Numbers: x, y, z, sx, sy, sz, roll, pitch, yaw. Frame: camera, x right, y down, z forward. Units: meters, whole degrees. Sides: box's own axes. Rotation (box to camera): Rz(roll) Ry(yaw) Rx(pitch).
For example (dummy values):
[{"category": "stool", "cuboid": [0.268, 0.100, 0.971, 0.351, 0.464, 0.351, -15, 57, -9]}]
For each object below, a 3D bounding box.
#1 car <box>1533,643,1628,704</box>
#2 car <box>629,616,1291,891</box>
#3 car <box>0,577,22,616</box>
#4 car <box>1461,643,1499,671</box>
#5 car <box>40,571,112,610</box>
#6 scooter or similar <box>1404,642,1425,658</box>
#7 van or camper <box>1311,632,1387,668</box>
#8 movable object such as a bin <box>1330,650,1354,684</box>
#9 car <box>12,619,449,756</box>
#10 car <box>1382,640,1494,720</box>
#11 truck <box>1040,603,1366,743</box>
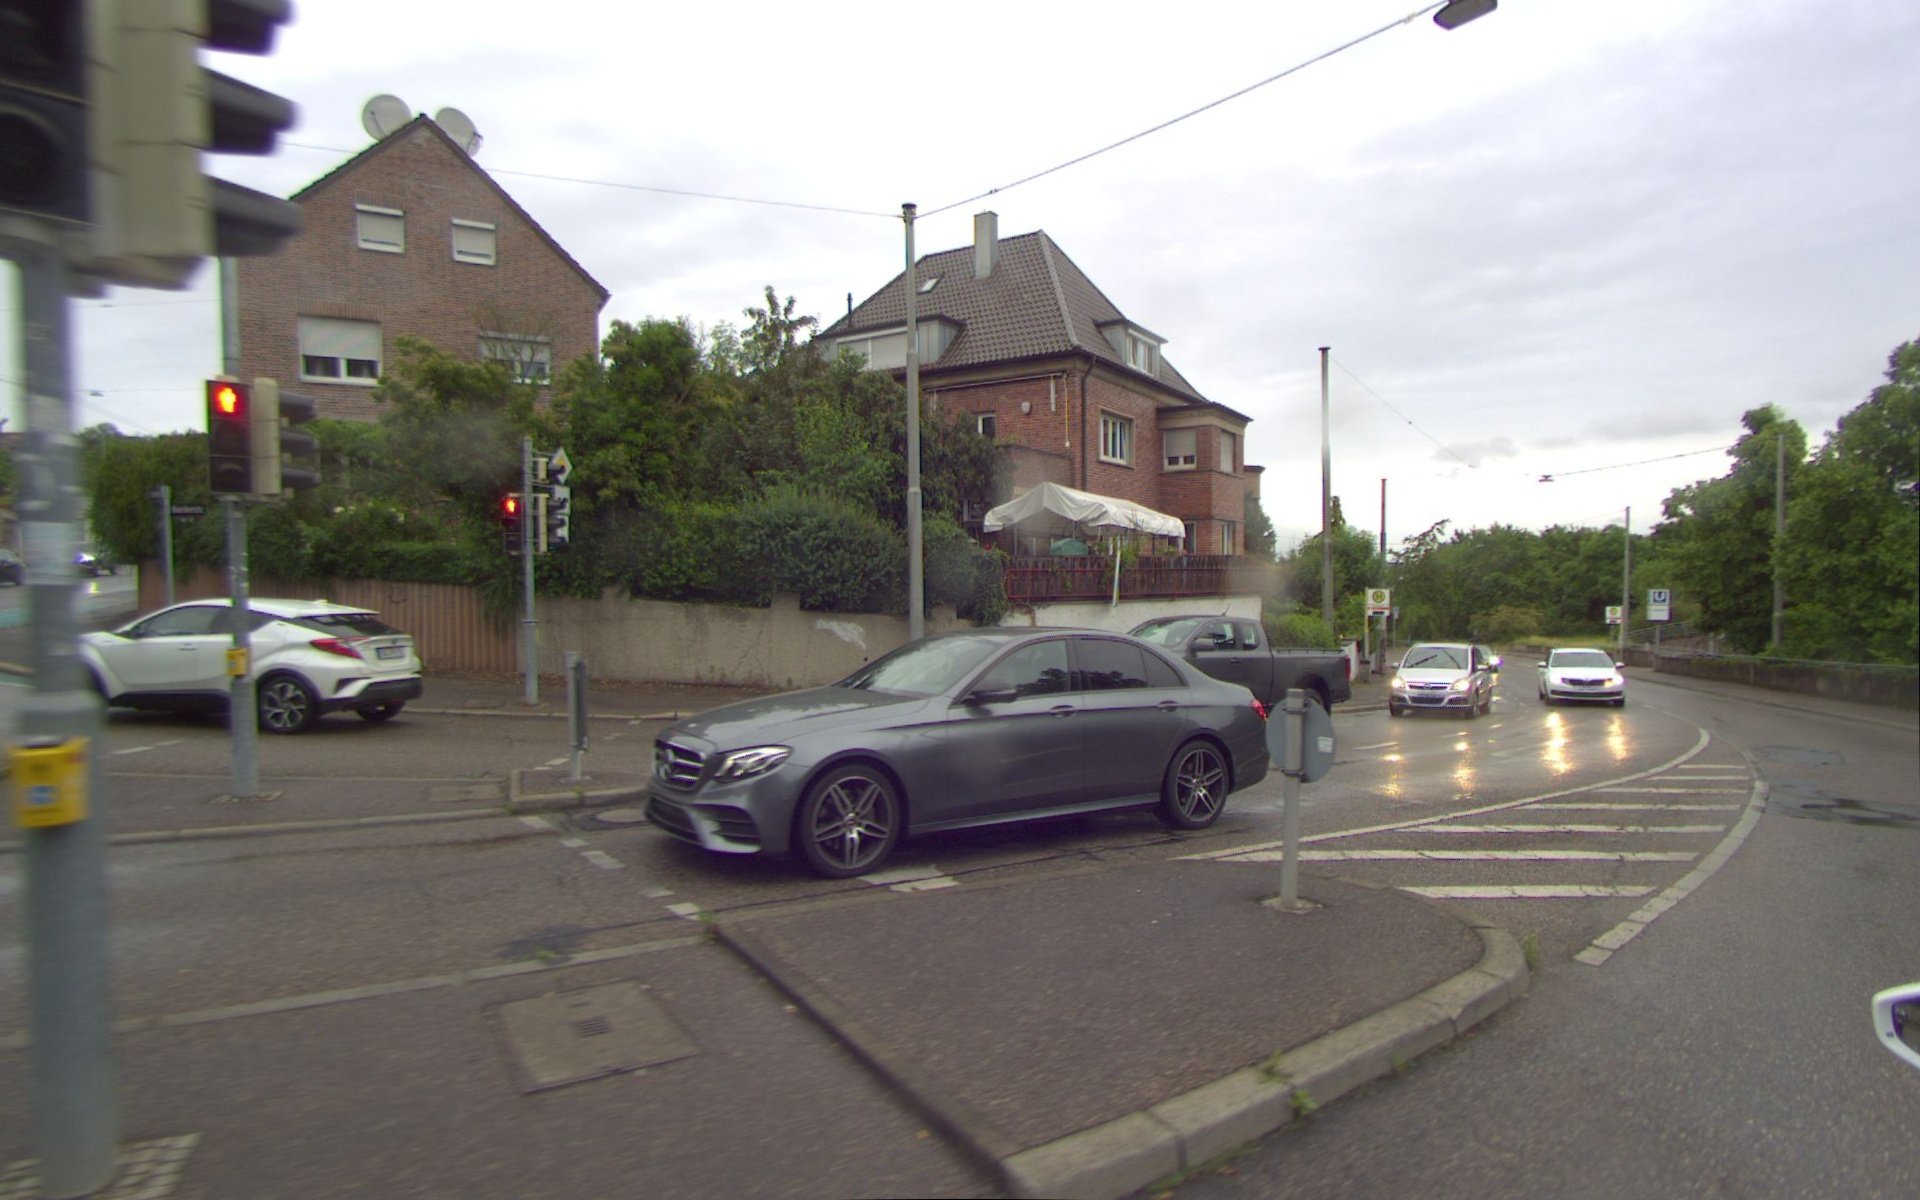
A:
[{"category": "car", "cuboid": [16.726, 1.976, 27.267, 1.820, 1.493, 4.436, -3, -4, 28]}, {"category": "car", "cuboid": [0.186, 0.948, 7.260, 4.550, 1.413, 1.847, 3, -5, -35]}, {"category": "car", "cuboid": [-36.959, -0.136, 37.689, 1.739, 1.479, 4.008, 0, 0, -30]}, {"category": "car", "cuboid": [28.589, 3.121, 55.275, 1.711, 1.469, 4.610, -3, -4, 27]}, {"category": "car", "cuboid": [-42.047, -0.468, 47.873, 1.739, 1.672, 4.008, -4, 3, -30]}, {"category": "scooter or similar", "cuboid": [41.338, 4.558, 91.301, 0.447, 1.299, 1.695, -2, -3, -32]}, {"category": "van or camper", "cuboid": [36.501, 4.755, 94.416, 2.371, 2.982, 6.227, -5, 0, -33]}, {"category": "movable object such as a bin", "cuboid": [13.077, 2.286, 34.377, 0.615, 1.095, 0.759, 3, 1, 28]}, {"category": "car", "cuboid": [-8.829, 1.017, 12.387, 4.175, 1.486, 1.713, 1, -1, 3]}, {"category": "car", "cuboid": [10.862, 1.762, 22.659, 1.687, 1.605, 4.449, -1, -4, 33]}, {"category": "truck", "cuboid": [3.899, 1.152, 15.688, 5.223, 1.872, 1.873, 3, -4, -32]}]
